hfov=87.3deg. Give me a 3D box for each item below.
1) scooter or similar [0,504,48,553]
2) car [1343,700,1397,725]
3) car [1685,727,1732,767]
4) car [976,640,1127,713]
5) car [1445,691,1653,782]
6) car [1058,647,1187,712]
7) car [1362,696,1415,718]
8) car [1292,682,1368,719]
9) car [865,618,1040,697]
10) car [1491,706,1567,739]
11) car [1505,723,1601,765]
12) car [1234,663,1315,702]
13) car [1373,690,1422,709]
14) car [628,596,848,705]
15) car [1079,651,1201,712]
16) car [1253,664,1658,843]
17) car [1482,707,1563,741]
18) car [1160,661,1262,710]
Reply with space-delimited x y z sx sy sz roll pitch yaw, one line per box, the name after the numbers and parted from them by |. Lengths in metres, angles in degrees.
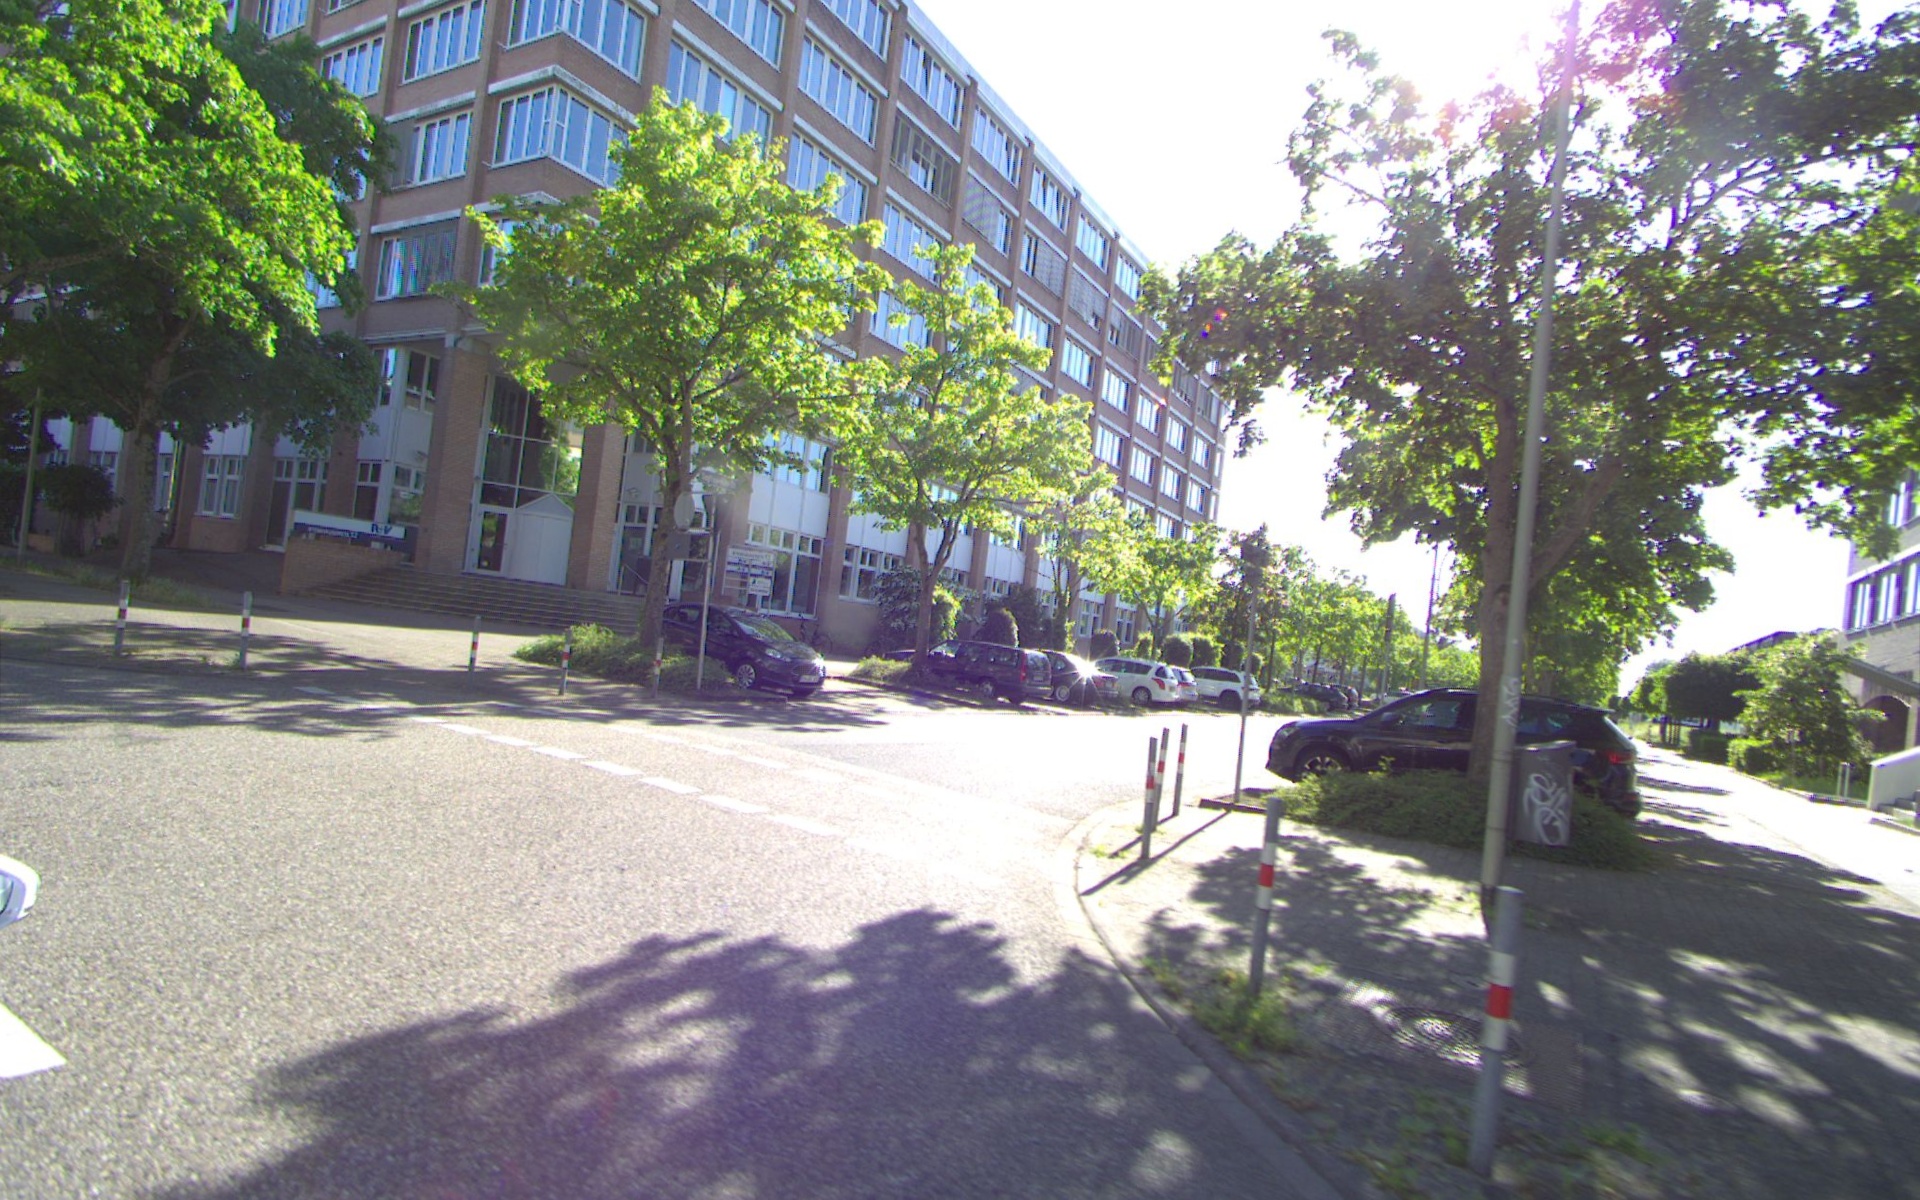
-29.695 -2.267 31.791 1.774 1.340 0.550 6 -2 27 | scooter or similar
31.716 8.695 77.907 3.569 1.260 1.418 9 3 32 | car
33.232 6.481 44.717 1.513 1.461 3.899 5 -3 36 | car
2.643 2.212 29.313 3.931 1.383 1.627 9 -2 29 | car
13.603 3.111 23.332 3.942 1.602 1.699 2 -4 38 | car
5.638 2.751 34.988 3.933 1.583 1.625 9 0 32 | car
36.475 9.131 85.645 3.844 1.259 1.534 7 -1 32 | car
22.023 5.983 59.896 3.844 1.520 1.534 9 0 32 | car
-0.248 1.466 26.007 4.205 1.478 1.690 6 -1 35 | car
34.405 7.364 60.909 3.842 1.461 1.535 5 -2 29 | car
28.643 6.926 48.684 3.845 1.461 1.534 5 -2 32 | car
17.283 4.529 55.246 3.844 1.447 1.534 9 0 32 | car
39.731 9.058 91.448 3.844 1.258 1.534 6 -2 31 | car
-4.219 0.932 18.937 3.852 1.479 1.655 7 -1 32 | car
6.562 2.968 36.721 3.933 1.520 1.534 9 0 32 | car
6.180 1.847 12.896 4.292 1.583 1.742 4 -3 29 | car
31.871 7.005 57.102 3.842 1.330 1.535 6 -2 29 | car
10.689 3.632 42.901 3.845 1.520 1.534 6 -1 32 | car
